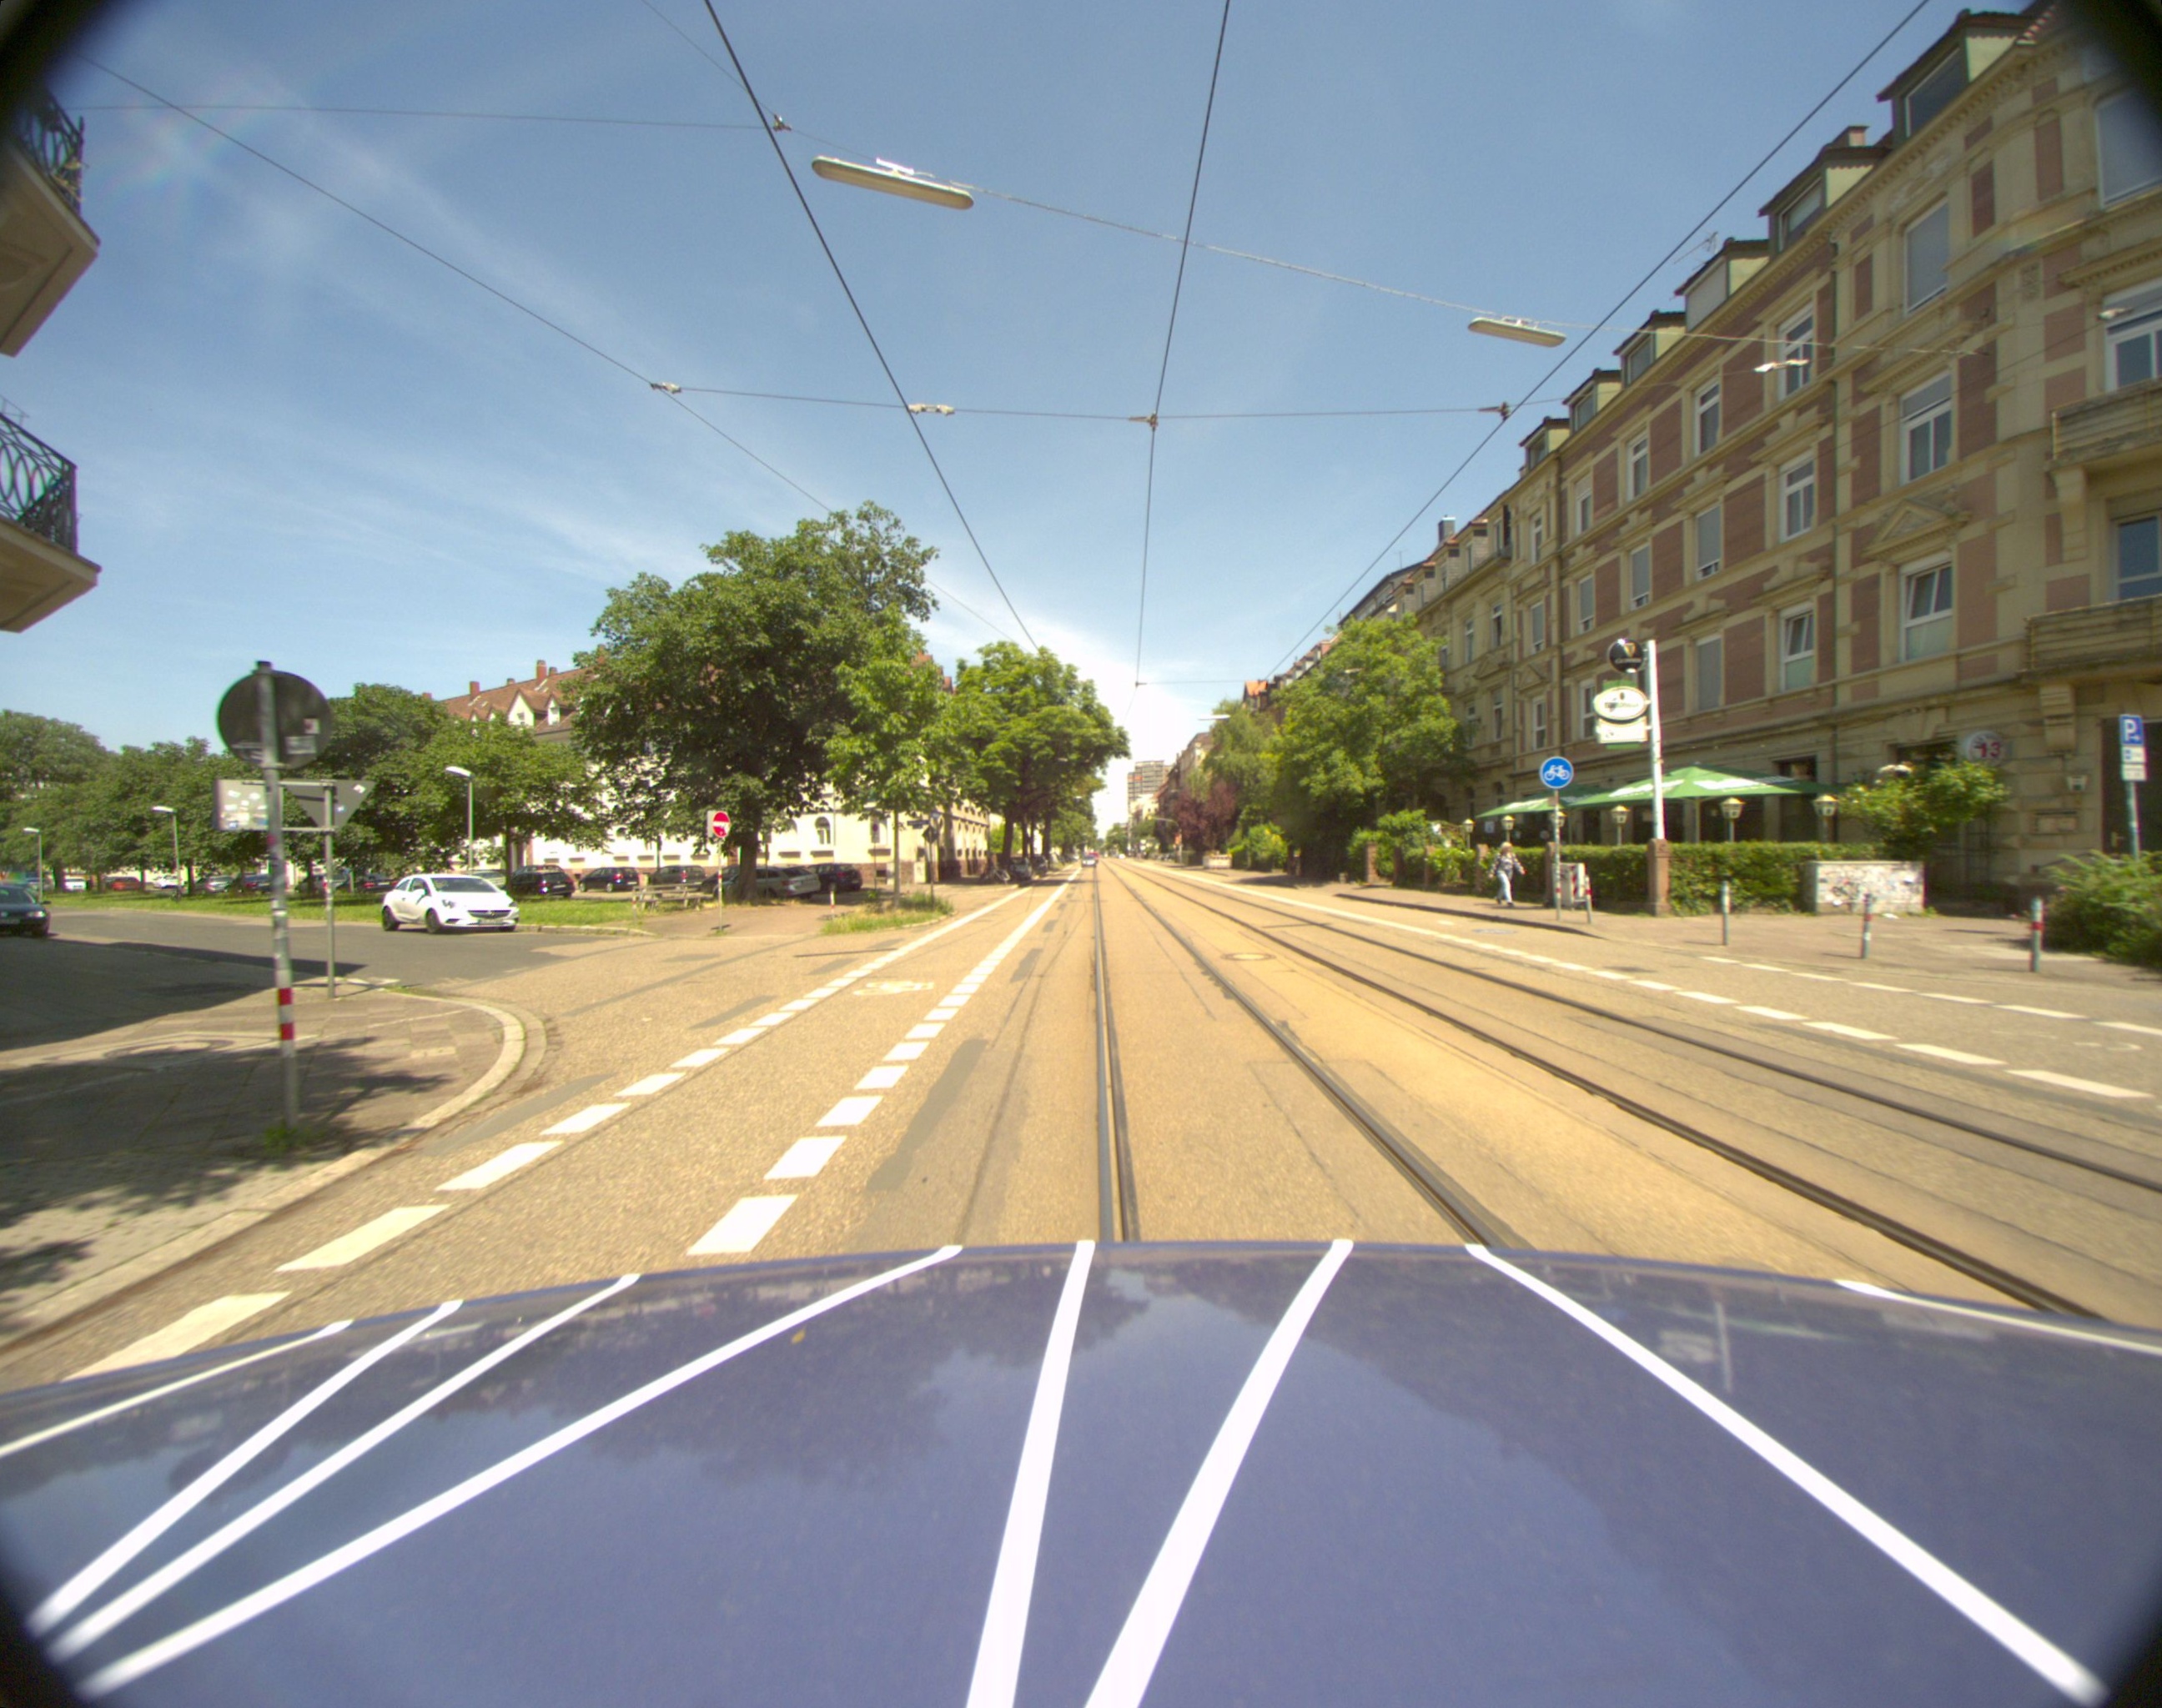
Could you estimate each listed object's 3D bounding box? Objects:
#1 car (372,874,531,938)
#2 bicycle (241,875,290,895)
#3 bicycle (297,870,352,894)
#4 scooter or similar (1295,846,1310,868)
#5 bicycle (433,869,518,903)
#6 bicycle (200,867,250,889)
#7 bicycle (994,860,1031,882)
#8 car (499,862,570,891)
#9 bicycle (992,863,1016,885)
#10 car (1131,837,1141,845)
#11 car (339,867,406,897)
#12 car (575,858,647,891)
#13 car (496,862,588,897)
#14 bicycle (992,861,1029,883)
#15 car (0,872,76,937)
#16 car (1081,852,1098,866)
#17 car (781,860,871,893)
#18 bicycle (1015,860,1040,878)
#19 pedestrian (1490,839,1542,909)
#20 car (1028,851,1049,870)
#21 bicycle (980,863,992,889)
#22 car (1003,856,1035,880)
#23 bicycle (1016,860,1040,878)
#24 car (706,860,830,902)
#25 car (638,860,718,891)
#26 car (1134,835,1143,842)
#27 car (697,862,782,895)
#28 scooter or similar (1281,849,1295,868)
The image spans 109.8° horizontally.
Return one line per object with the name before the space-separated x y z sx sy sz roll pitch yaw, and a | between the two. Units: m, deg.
car | -15.985 1.240 19.255 3.989 1.411 1.857 -1 1 31
bicycle | -58.158 2.182 54.164 3.410 1.300 1.620 -1 2 30
bicycle | -48.112 1.750 48.304 3.734 1.385 1.578 -1 1 32
scooter or similar | 14.057 0.208 48.240 0.617 1.391 0.694 -1 1 -9
bicycle | -31.797 1.632 39.892 3.990 1.636 1.841 -1 2 26
bicycle | -65.416 1.809 58.042 3.989 1.582 1.787 -1 2 31
bicycle | -3.951 0.993 43.664 2.037 1.193 0.445 -1 2 11
car | -34.243 1.374 47.625 3.990 1.649 1.837 -1 3 25
bicycle | -3.891 1.016 38.532 1.169 1.057 0.280 -1 2 4
car | 11.956 -2.906 165.971 1.998 1.717 3.871 -1 1 1
car | -43.068 1.678 46.176 3.886 1.671 1.768 -1 2 28
car | -26.903 1.155 43.475 3.989 1.720 1.655 -1 2 28
car | -26.310 1.205 37.091 3.989 1.573 2.003 -1 1 28
bicycle | -4.011 1.031 43.158 2.037 1.193 0.445 -1 2 11
car | -30.564 1.395 21.310 3.990 1.699 2.003 -1 1 25
car | 0.946 0.565 87.993 1.893 1.561 4.036 -1 1 1
car | -12.055 1.015 35.863 3.874 1.439 1.648 0 2 23
bicycle | -3.667 1.037 52.275 1.623 1.193 0.305 -1 2 2
pedestrian | 10.430 0.461 18.252 0.742 1.632 0.939 -1 1 4
car | -3.653 0.566 66.119 1.539 1.535 4.000 -1 1 1
bicycle | -4.796 1.099 38.370 0.284 1.193 1.625 -2 1 -19
car | -3.882 0.853 47.950 1.596 1.444 3.632 1 0 1
bicycle | -3.649 1.042 52.629 1.623 1.193 0.305 -1 2 2
car | -12.222 1.061 29.625 4.664 1.506 1.880 -2 0 28
car | -21.842 1.138 41.134 3.989 1.571 1.872 -1 2 28
car | 11.122 -2.983 146.907 1.493 1.372 3.630 -1 1 1
car | -17.315 1.216 38.510 3.989 1.495 1.823 -1 4 28
scooter or similar | 12.929 0.257 47.509 0.617 1.151 0.694 -1 1 -9
